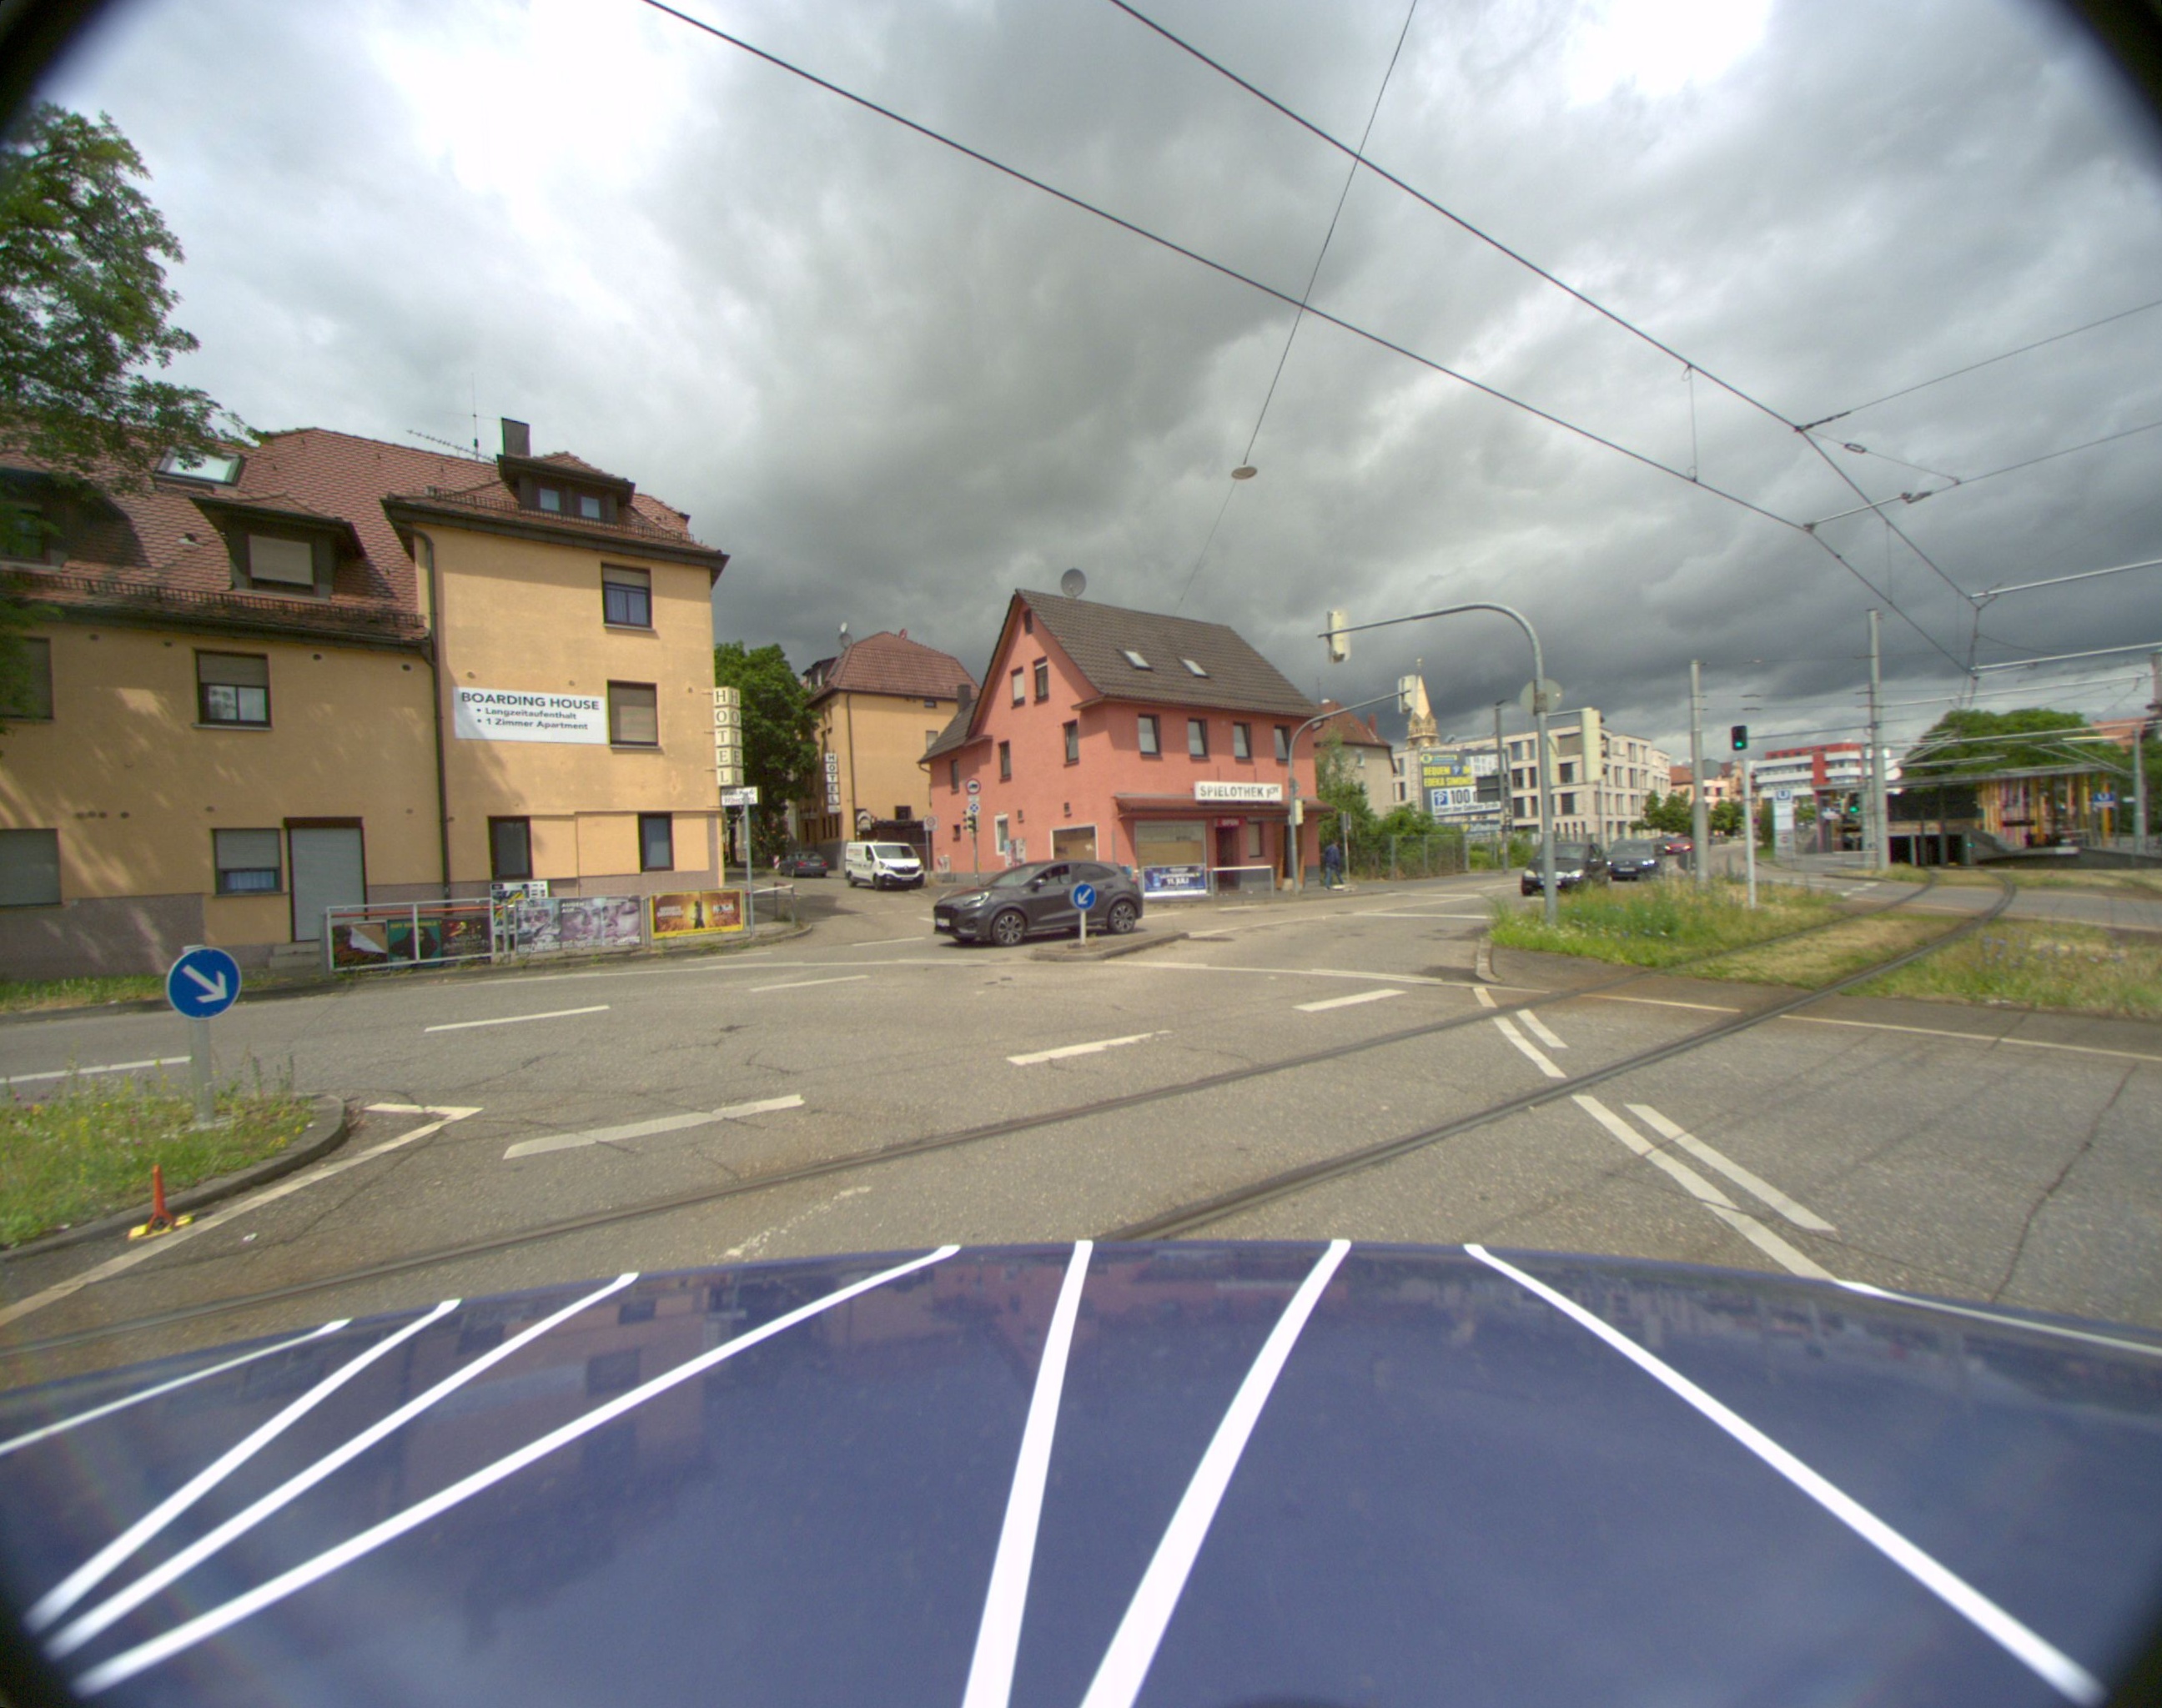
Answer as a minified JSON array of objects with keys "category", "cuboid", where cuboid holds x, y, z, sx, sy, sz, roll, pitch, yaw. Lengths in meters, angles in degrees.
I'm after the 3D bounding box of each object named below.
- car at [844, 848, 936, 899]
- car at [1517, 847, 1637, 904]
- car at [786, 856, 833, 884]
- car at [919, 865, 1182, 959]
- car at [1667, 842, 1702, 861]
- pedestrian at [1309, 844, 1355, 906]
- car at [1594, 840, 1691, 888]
[{"category":"car","cuboid":[-8.069,0.769,31.797,2.085,1.887,4.650,-3,2,-35]},{"category":"car","cuboid":[14.815,0.606,22.627,4.007,1.420,1.879,-3,0,-40]},{"category":"car","cuboid":[-14.597,0.875,40.782,1.565,1.363,3.125,-3,0,-35]},{"category":"car","cuboid":[-0.496,1.023,14.953,4.863,1.363,1.915,-3,0,-35]},{"category":"car","cuboid":[52.198,-0.242,65.706,1.995,1.449,4.008,-3,0,43]},{"category":"pedestrian","cuboid":[8.953,0.735,27.156,1.130,2.135,1.050,-2,1,-31]},{"category":"car","cuboid":[21.887,0.369,29.569,4.428,1.639,1.995,-3,0,-40]}]
